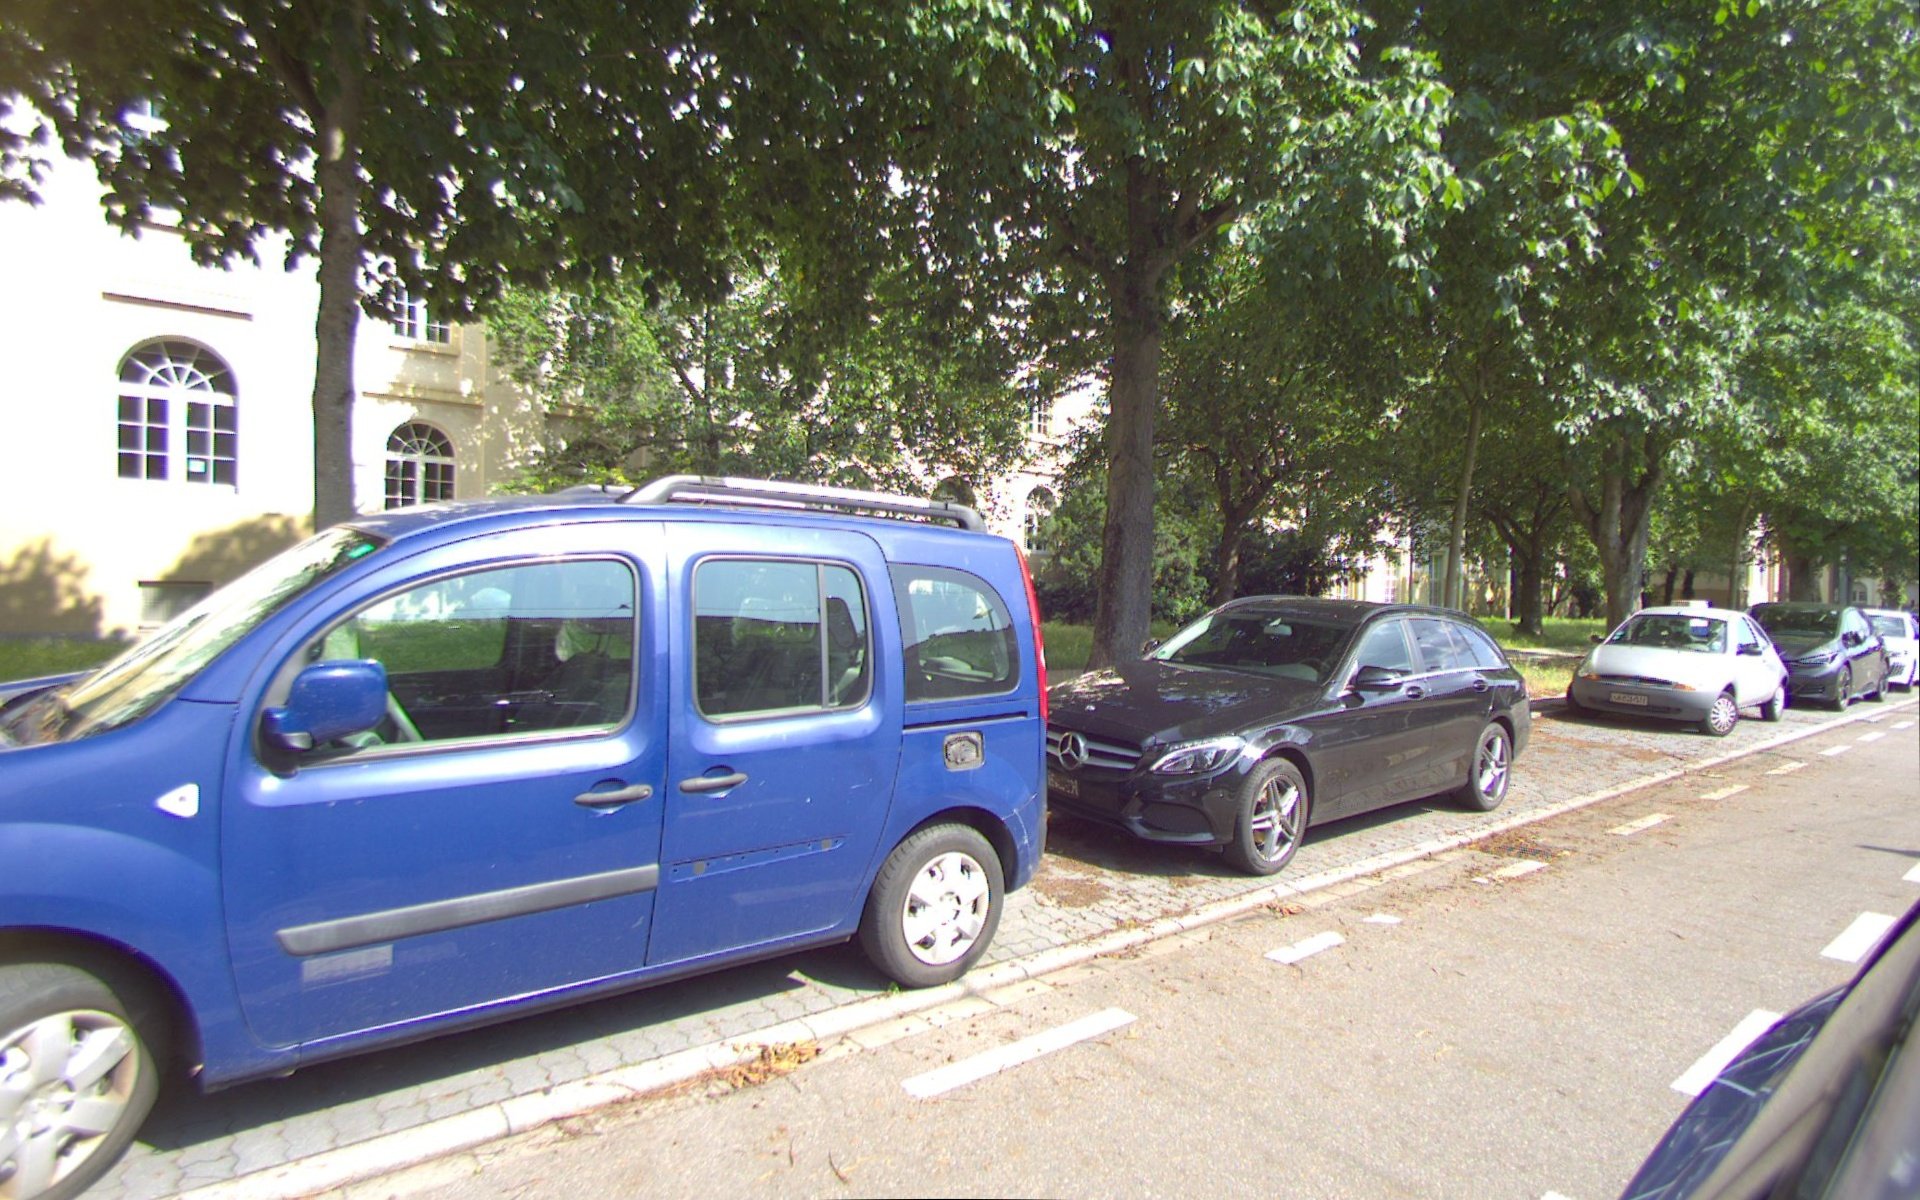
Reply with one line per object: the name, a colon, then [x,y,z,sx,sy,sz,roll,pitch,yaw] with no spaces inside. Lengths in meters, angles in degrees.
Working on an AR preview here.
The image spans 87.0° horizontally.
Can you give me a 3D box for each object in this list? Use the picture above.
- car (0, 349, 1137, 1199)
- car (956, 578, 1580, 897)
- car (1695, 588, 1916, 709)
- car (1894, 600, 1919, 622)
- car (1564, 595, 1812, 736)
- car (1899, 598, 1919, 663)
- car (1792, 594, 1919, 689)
car: [-1.490,0.419,3.634,4.106,1.919,1.828,1,2,-37]
car: [2.415,0.678,7.175,4.711,1.459,1.922,1,3,-40]
car: [13.460,0.674,16.024,4.591,1.603,1.730,1,2,-38]
car: [77.251,0.939,79.894,1.820,1.676,4.842,-1,2,-28]
car: [9.249,0.716,12.784,3.532,1.462,1.595,0,3,-38]
car: [24.423,0.764,24.856,3.497,1.478,1.559,-1,5,-41]
car: [17.700,0.715,19.526,4.179,1.542,1.839,0,3,-41]
